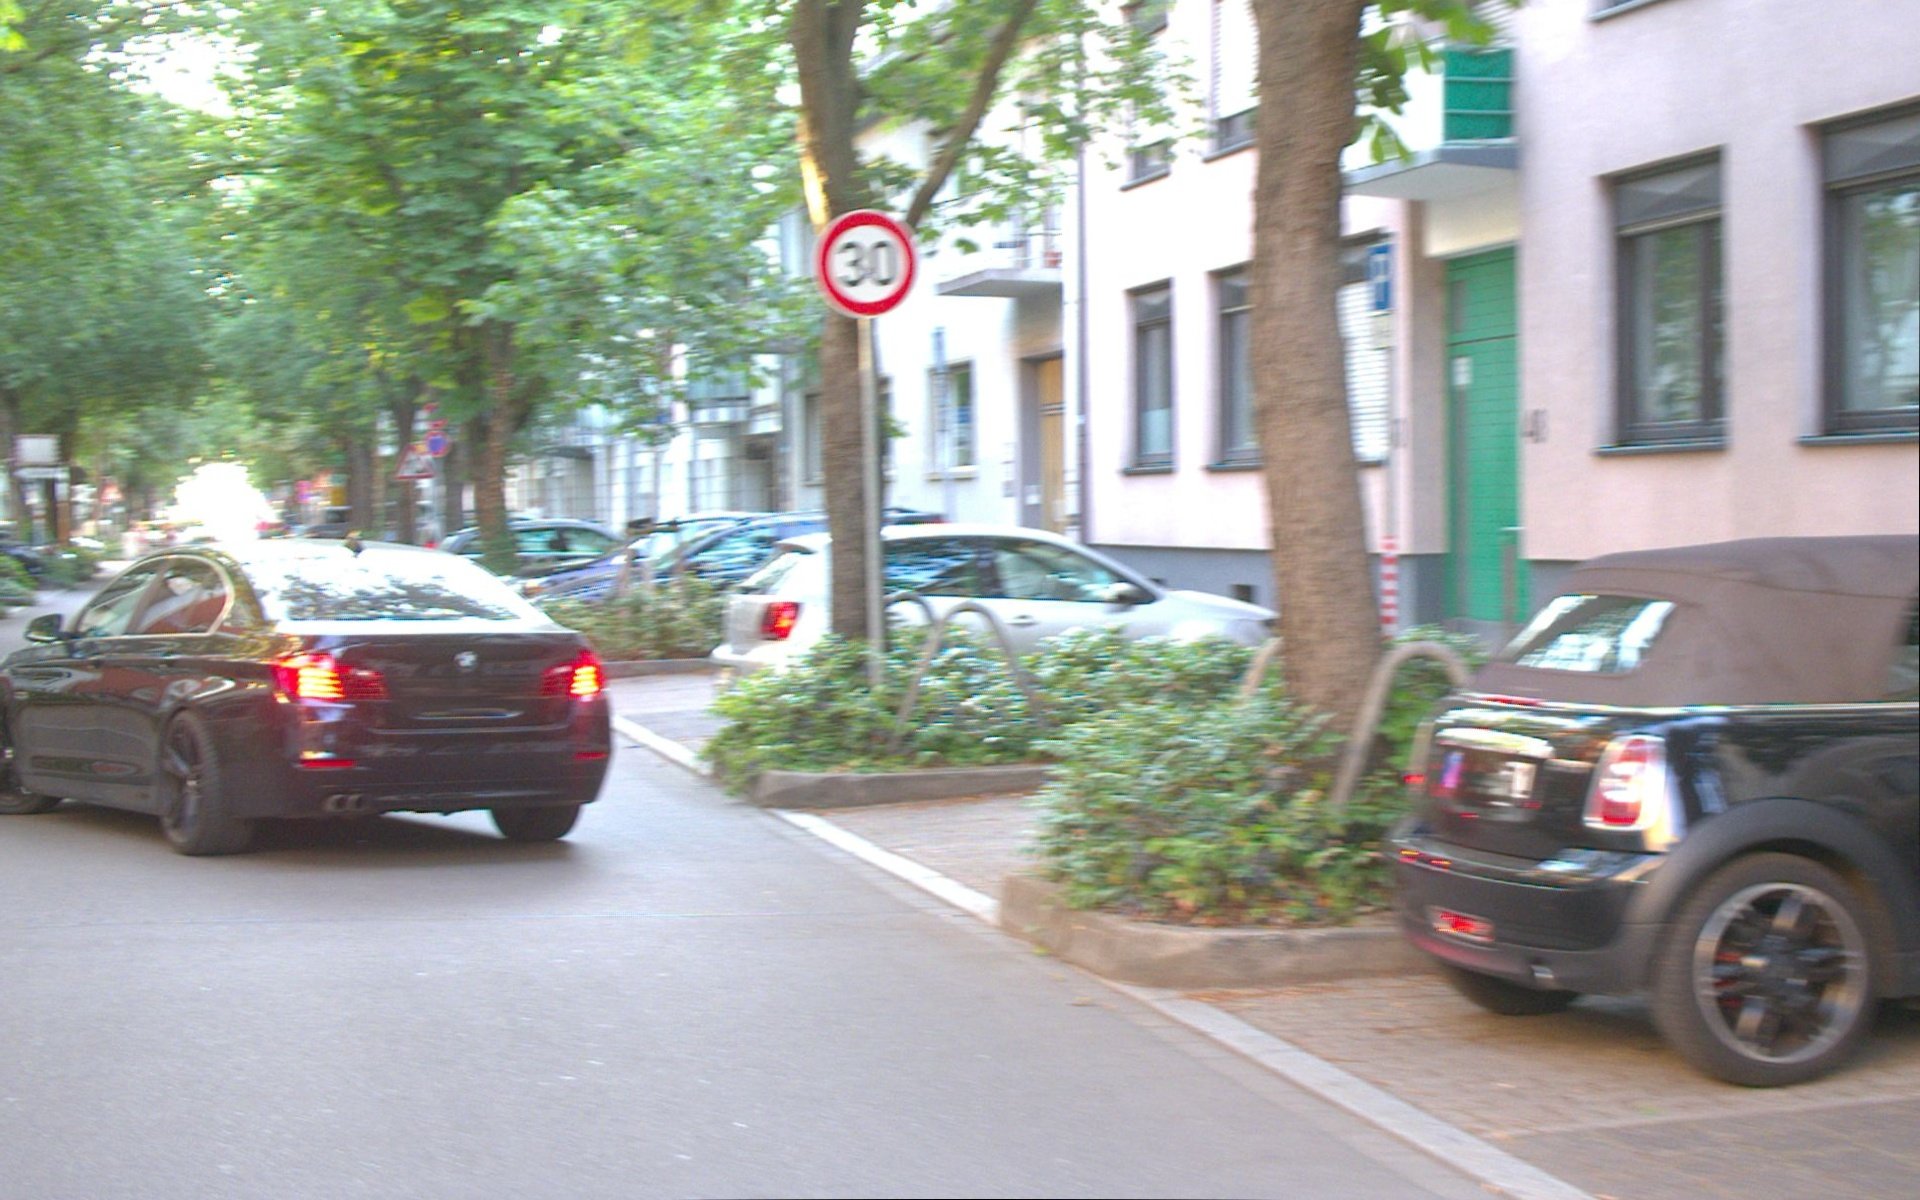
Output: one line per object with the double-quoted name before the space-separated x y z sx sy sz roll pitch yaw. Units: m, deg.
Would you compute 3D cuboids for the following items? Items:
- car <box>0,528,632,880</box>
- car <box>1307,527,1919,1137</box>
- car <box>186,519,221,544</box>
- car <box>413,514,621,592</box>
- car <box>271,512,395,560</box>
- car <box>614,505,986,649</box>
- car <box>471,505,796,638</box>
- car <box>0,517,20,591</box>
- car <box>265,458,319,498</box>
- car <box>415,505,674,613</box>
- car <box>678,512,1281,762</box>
"car" -3.493 0.386 16.853 1.762 1.445 4.668 -1 2 -33
"car" 3.066 0.513 9.940 3.702 1.423 1.628 -4 2 -17
"car" -44.875 -4.085 203.960 1.894 1.470 4.001 -1 2 -11
"car" -8.229 -0.886 63.725 3.655 1.388 1.566 -1 2 -14
"car" -19.272 -1.976 105.666 3.655 1.388 1.566 -1 2 -14
"car" -1.708 -0.269 36.294 3.656 1.388 1.566 -2 2 -14
"car" -4.056 -0.375 42.579 3.791 1.524 1.566 -2 2 -14
"car" -21.076 -0.943 69.301 4.020 1.466 1.641 0 1 -12
"car" -26.344 -4.808 135.540 1.993 1.546 4.001 -1 2 -12
"car" -6.192 -0.629 51.135 3.655 1.531 1.566 -1 2 -14
"car" 0.099 0.201 22.552 3.656 1.474 1.566 -2 2 -14
